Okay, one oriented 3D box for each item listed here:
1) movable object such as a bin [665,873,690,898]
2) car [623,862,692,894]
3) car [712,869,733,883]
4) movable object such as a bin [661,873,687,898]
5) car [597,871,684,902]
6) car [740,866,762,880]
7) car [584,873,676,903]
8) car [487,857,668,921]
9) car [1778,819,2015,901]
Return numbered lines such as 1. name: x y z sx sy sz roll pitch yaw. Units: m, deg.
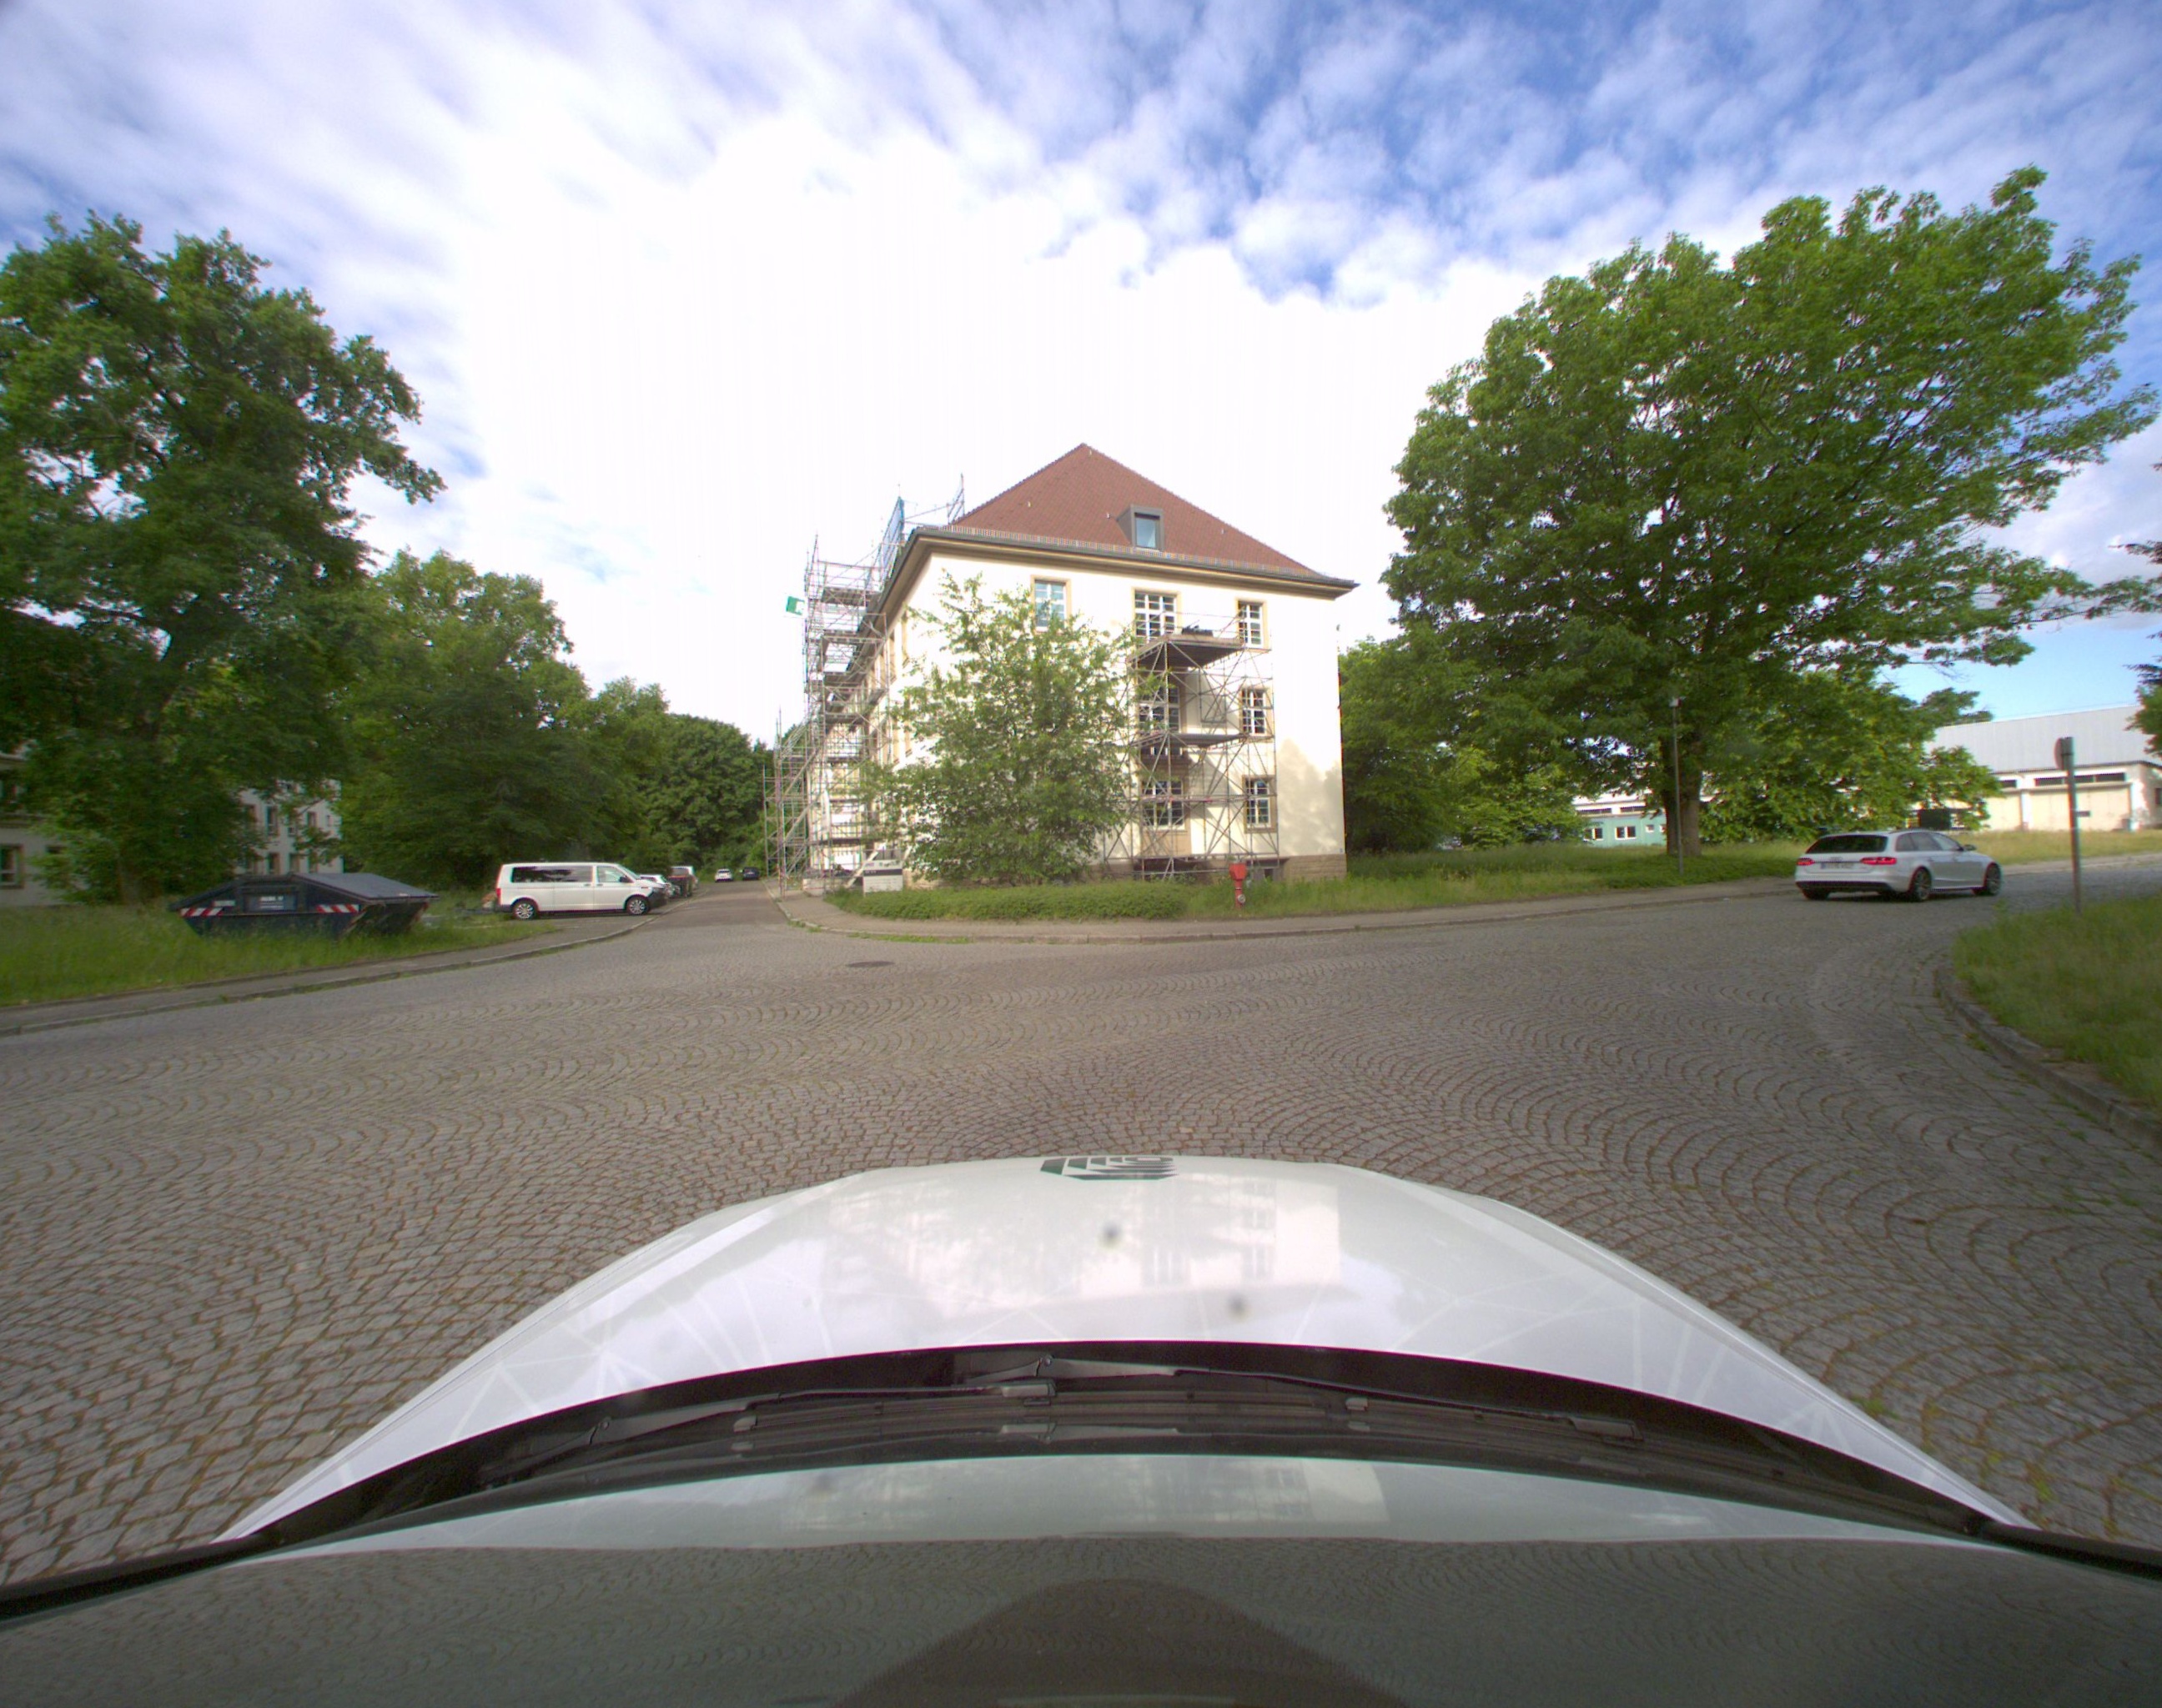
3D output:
1. movable object such as a bin: -23.696 1.848 47.851 1.188 1.407 0.968 1 -2 -22
2. car: -28.167 1.599 54.326 4.008 2.014 1.905 1 -2 -27
3. car: -40.029 2.451 90.883 2.011 1.548 3.925 1 -2 -25
4. movable object such as a bin: -23.354 1.812 46.733 1.188 1.407 0.968 1 -2 -22
5. car: -23.146 1.700 42.914 3.688 1.593 1.755 0 -2 -16
6. car: -37.441 2.142 92.420 2.070 1.594 3.973 1 -2 -19
7. car: -22.608 1.685 40.960 3.633 1.481 1.812 0 -2 -15
8. car: -17.813 1.190 29.179 5.223 2.060 2.171 -1 -1 -23
9. car: 16.946 0.095 16.907 4.711 1.437 1.840 -2 -1 -23
